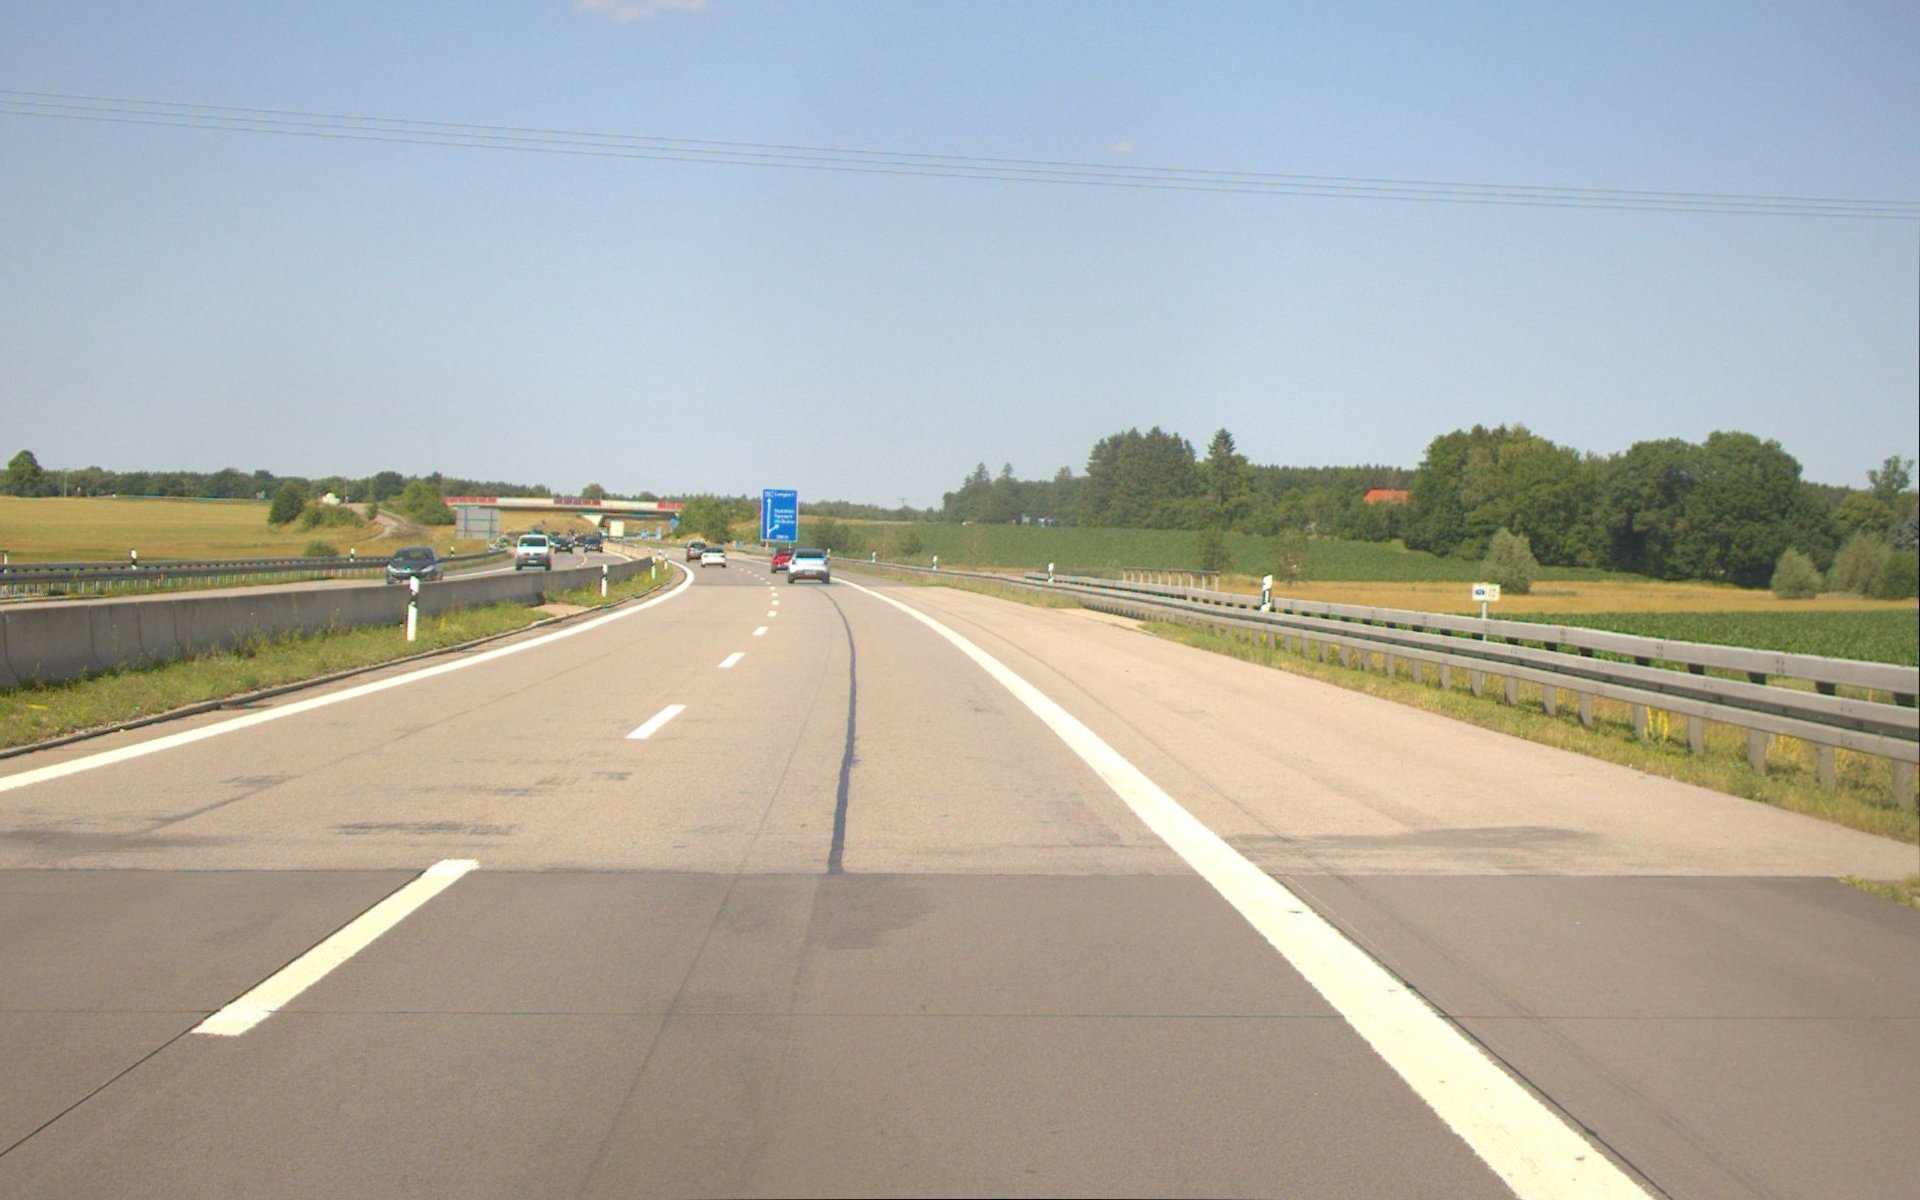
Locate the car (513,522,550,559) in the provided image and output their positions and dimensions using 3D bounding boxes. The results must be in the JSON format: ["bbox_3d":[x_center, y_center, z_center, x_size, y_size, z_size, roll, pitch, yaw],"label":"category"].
[{"bbox_3d":[-24.495,-3.379,196.394,1.993,2.007,5.615,1,1,-8],"label":"car"}]

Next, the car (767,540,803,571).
[{"bbox_3d":[-10.521,-2.678,206.306,1.993,1.725,4.870,1,1,-5],"label":"car"}]

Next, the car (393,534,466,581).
[{"bbox_3d":[-18.263,-1.475,118.511,1.859,1.509,4.586,3,1,-2],"label":"car"}]

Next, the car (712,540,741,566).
[{"bbox_3d":[-16.489,-3.301,242.385,1.993,1.725,4.870,1,1,-4],"label":"car"}]

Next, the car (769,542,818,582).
[{"bbox_3d":[-7.555,-1.735,155.423,1.993,1.725,4.870,1,1,-5],"label":"car"}]
